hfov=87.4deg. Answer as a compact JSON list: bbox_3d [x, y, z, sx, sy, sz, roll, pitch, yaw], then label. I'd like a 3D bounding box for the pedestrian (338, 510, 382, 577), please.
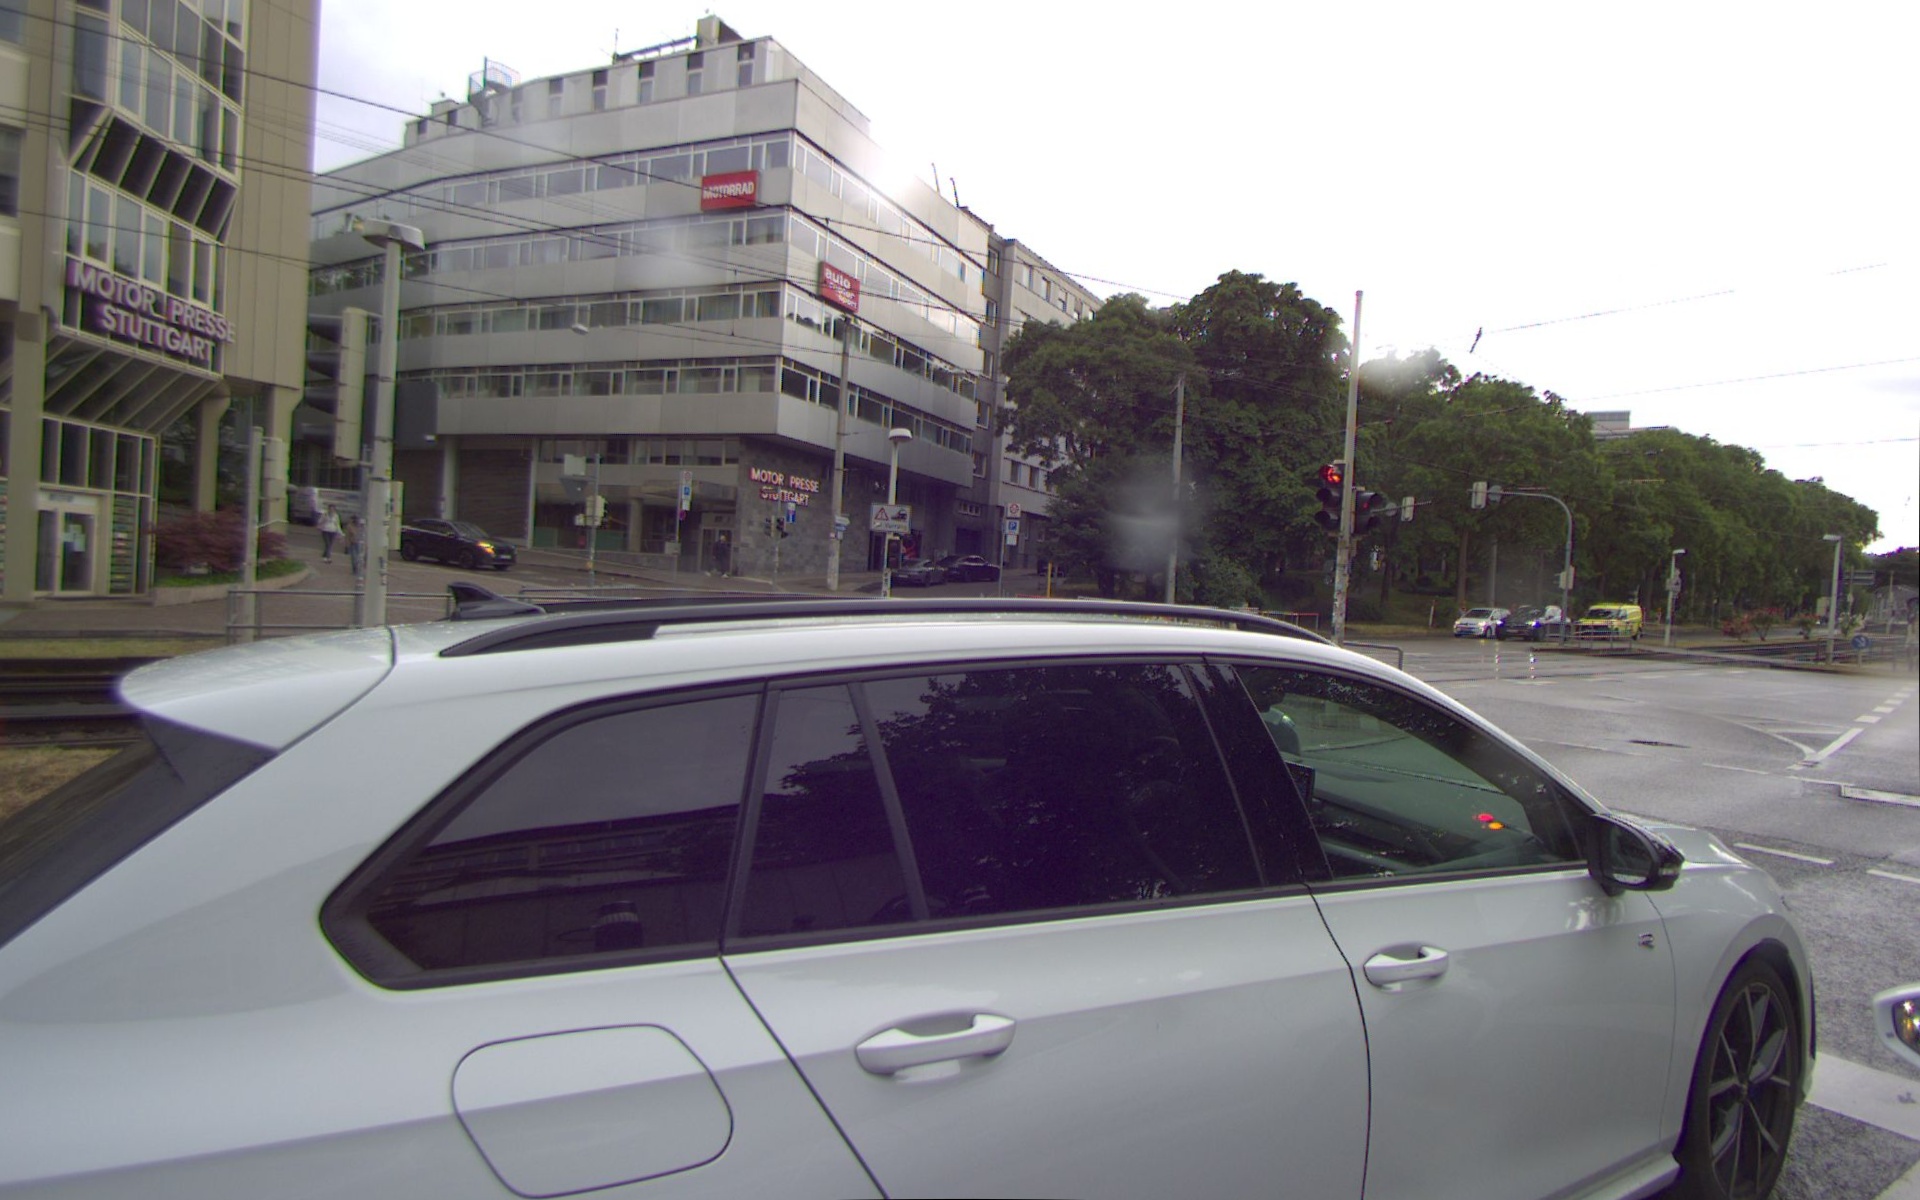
[{"bbox_3d":[-16.990,-1.597,28.449,0.749,1.811,0.826,6,3,43],"label":"pedestrian"}]

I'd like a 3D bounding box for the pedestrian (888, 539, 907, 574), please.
[{"bbox_3d":[-3.461,-2.406,55.515,0.707,1.886,0.758,5,4,31],"label":"pedestrian"}]

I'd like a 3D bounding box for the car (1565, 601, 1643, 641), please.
[{"bbox_3d":[33.275,1.084,51.837,4.525,1.875,1.905,2,1,-38],"label":"car"}]

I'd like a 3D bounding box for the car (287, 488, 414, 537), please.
[{"bbox_3d":[-32.030,-4.533,52.993,1.964,2.040,5.403,2,0,30],"label":"car"}]

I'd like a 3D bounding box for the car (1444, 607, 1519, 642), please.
[{"bbox_3d":[26.064,1.216,50.186,3.648,1.566,1.905,2,1,-37],"label":"car"}]

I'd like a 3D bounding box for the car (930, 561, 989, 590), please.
[{"bbox_3d":[0.032,-1.348,55.584,1.842,1.450,3.998,3,2,22],"label":"car"}]

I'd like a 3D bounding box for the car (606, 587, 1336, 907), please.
[{"bbox_3d":[0.199,0.725,6.486,4.423,1.461,1.787,2,0,-30],"label":"car"}]

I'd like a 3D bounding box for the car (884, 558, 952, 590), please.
[{"bbox_3d":[-2.058,-1.288,50.610,1.842,1.450,4.091,3,2,22],"label":"car"}]

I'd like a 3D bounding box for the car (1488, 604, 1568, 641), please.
[{"bbox_3d":[26.303,1.057,46.520,3.648,1.566,1.905,2,1,-37],"label":"car"}]

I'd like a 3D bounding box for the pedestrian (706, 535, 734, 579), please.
[{"bbox_3d":[-10.568,-1.890,44.198,0.833,1.886,0.719,5,2,25],"label":"pedestrian"}]

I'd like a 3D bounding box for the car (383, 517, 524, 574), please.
[{"bbox_3d":[-18.818,-2.039,37.321,4.794,1.601,1.999,7,3,23],"label":"car"}]

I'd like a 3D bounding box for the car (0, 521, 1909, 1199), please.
[{"bbox_3d":[0.302,0.709,2.472,4.423,1.461,1.787,2,0,-30],"label":"car"}]

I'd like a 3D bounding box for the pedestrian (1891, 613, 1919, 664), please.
[{"bbox_3d":[35.376,1.442,37.433,0.862,1.826,0.860,1,3,-45],"label":"pedestrian"}]

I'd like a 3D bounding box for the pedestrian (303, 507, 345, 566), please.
[{"bbox_3d":[-18.989,-1.892,29.975,0.746,1.661,0.719,5,2,25],"label":"pedestrian"}]
